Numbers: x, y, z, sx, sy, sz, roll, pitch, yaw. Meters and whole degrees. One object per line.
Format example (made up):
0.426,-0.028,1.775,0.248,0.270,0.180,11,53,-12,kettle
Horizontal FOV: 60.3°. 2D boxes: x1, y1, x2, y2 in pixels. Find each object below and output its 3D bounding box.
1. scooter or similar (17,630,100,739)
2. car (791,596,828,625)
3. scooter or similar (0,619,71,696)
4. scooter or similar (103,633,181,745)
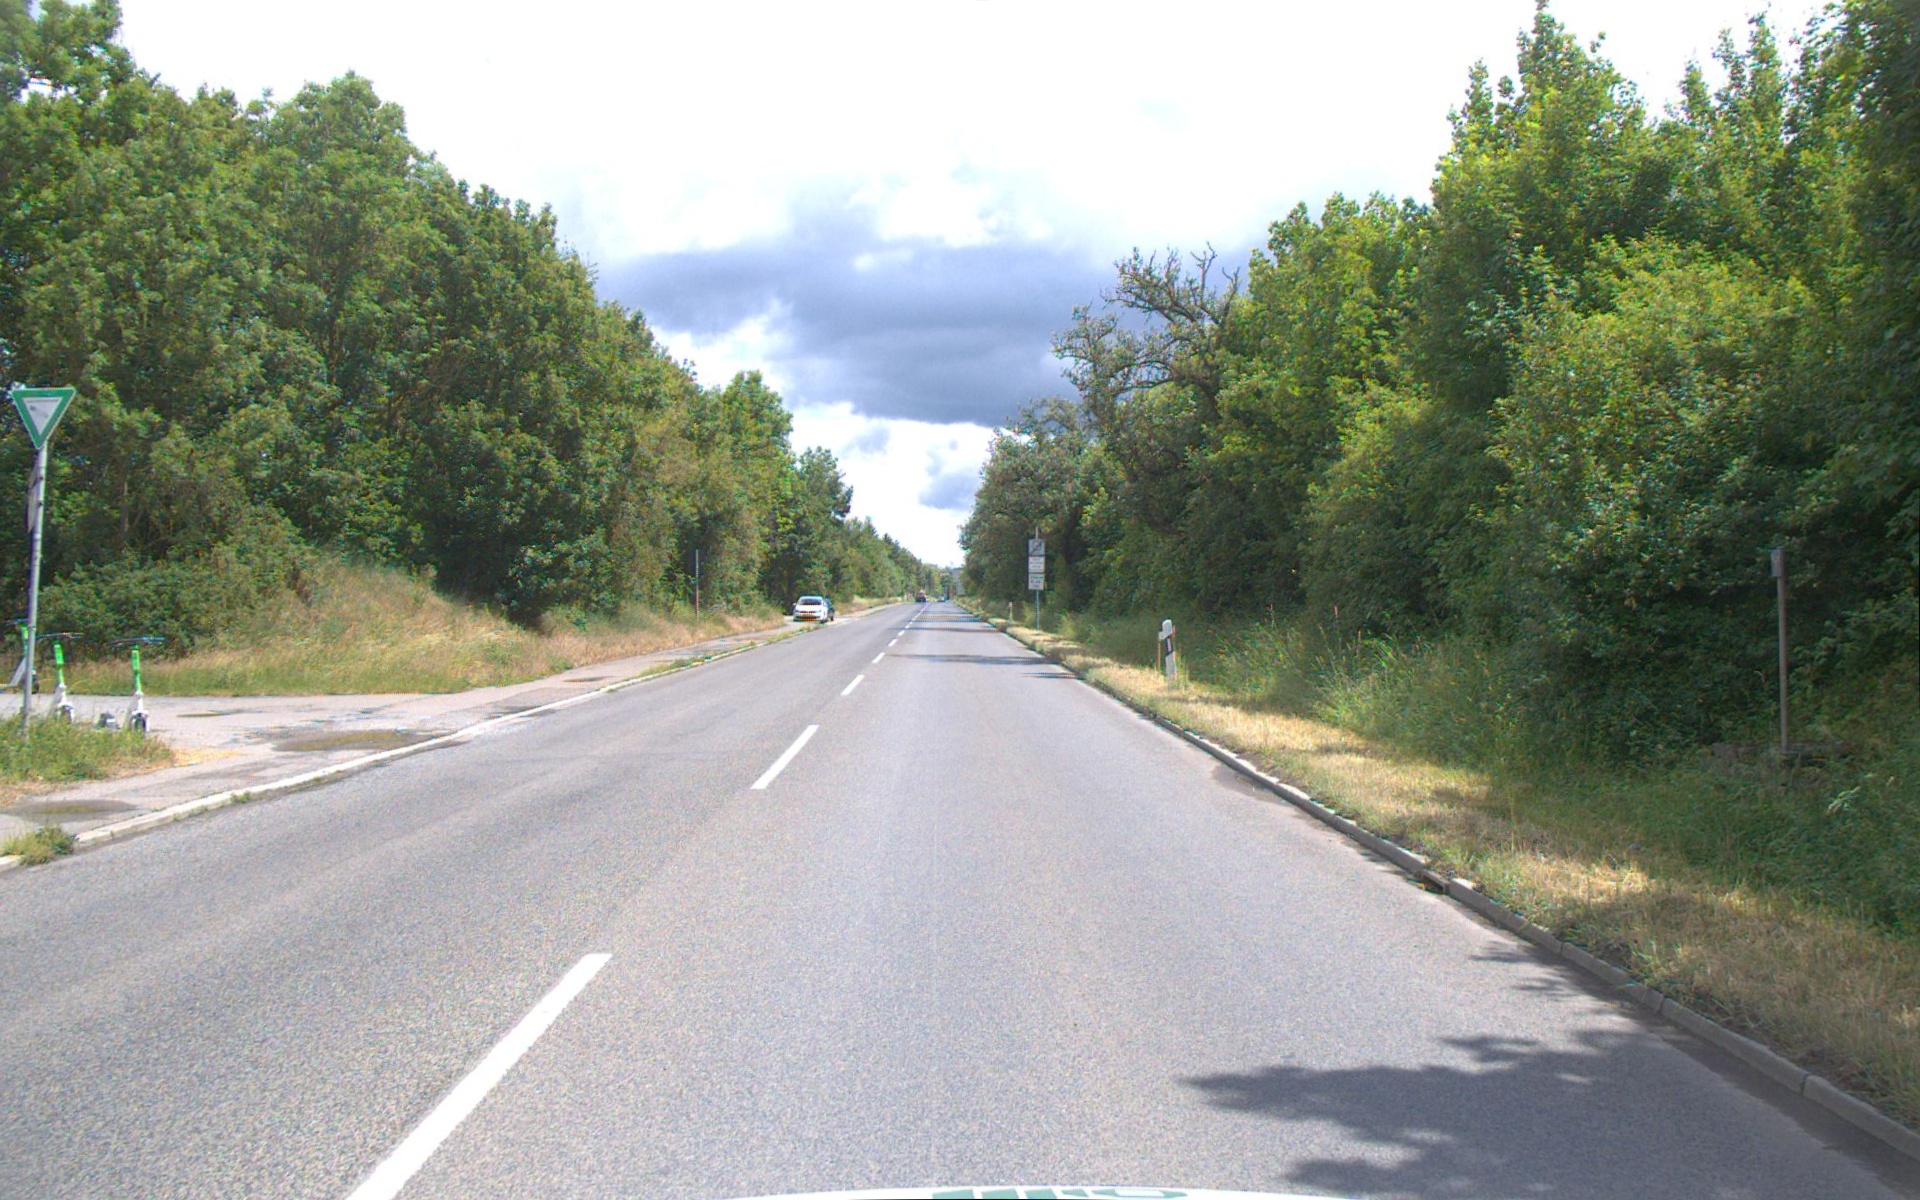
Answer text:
-10.510,0.965,19.269,1.326,1.189,0.405,0,0,40,scooter or similar
-8.519,0.613,94.083,1.761,1.570,3.954,-1,-1,-1,car
-14.796,0.901,26.259,1.217,1.189,0.407,0,0,12,scooter or similar
-9.221,0.983,18.629,0.404,1.189,1.329,0,0,-44,scooter or similar
